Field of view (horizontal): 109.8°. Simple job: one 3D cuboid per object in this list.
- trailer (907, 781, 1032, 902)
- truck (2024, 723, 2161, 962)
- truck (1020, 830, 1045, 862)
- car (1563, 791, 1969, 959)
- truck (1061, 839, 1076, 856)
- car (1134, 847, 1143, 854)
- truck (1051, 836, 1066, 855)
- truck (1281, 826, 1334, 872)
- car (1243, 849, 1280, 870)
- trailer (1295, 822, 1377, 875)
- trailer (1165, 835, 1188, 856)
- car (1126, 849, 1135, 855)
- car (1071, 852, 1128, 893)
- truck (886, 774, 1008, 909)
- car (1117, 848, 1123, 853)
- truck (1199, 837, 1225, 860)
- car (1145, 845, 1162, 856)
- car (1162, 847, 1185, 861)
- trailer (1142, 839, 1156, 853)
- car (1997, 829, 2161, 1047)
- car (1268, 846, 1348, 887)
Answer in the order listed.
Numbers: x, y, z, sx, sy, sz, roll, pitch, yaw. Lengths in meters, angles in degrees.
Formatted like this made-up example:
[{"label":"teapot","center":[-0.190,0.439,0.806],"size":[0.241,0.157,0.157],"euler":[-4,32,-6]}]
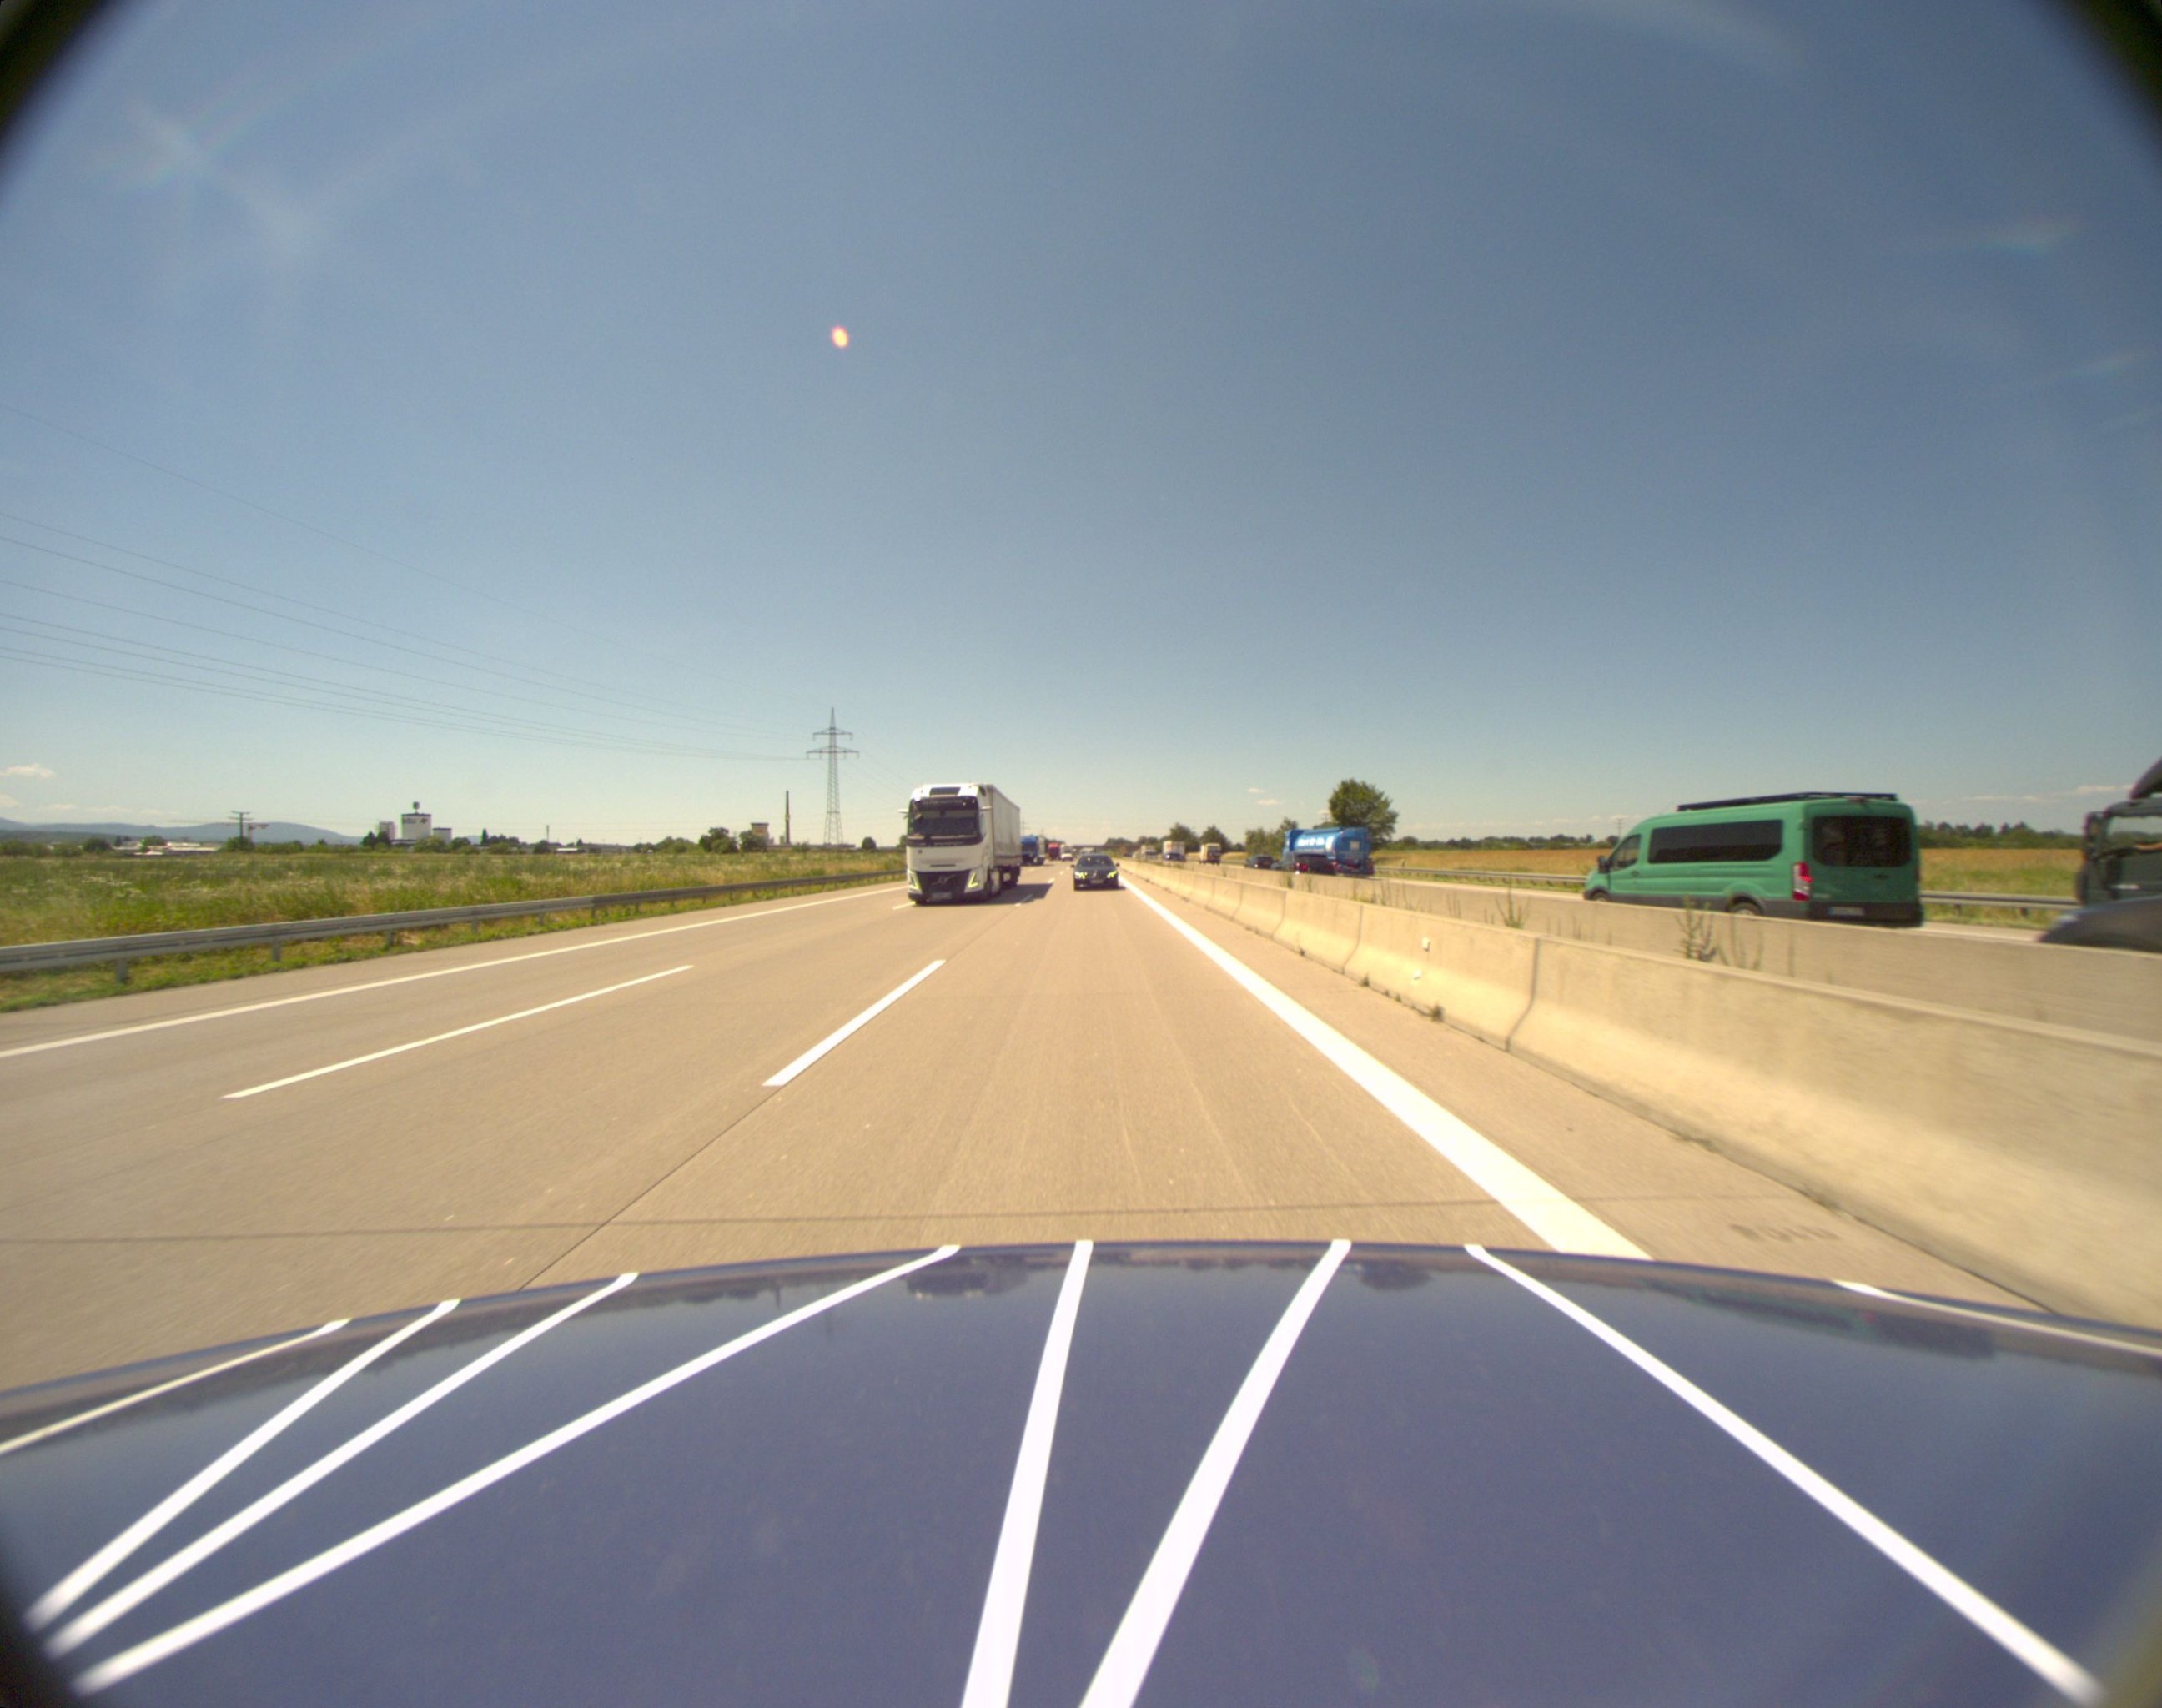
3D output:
[{"label":"trailer","center":[-4.288,-0.457,33.266],"size":[3.025,4.037,14.206],"euler":[-2,0,1]},{"label":"truck","center":[17.026,-0.155,8.732],"size":[2.561,3.492,7.884],"euler":[0,0,0]},{"label":"truck","center":[-6.581,-1.071,103.244],"size":[2.757,4.020,5.466],"euler":[-2,0,1]},{"label":"car","center":[12.723,0.318,15.083],"size":[2.154,2.536,6.463],"euler":[2,0,0]},{"label":"truck","center":[-2.561,-1.332,155.818],"size":[2.784,3.328,7.812],"euler":[-2,0,0]},{"label":"car","center":[15.497,-0.925,204.418],"size":[1.999,1.574,4.370],"euler":[0,-1,0]},{"label":"truck","center":[-5.332,-2.020,183.093],"size":[2.855,4.297,10.886],"euler":[-2,0,1]},{"label":"truck","center":[17.616,-0.420,59.488],"size":[2.490,3.348,5.263],"euler":[-2,0,0]},{"label":"car","center":[13.720,0.412,58.011],"size":[1.724,1.440,4.707],"euler":[-2,0,0]},{"label":"trailer","center":[17.606,-0.365,53.151],"size":[2.521,3.253,9.252],"euler":[-2,0,0]},{"label":"trailer","center":[18.571,-1.566,148.716],"size":[2.916,3.886,12.510],"euler":[-2,0,1]},{"label":"car","center":[12.128,-0.521,187.645],"size":[1.903,1.318,5.069],"euler":[-2,0,0]},{"label":"car","center":[0.740,0.640,29.838],"size":[1.998,1.462,6.348],"euler":[0,0,2]},{"label":"truck","center":[-4.398,-0.393,26.153],"size":[2.992,4.039,5.477],"euler":[-2,0,1]},{"label":"car","center":[11.855,-1.140,232.301],"size":[1.732,1.476,4.117],"euler":[-2,0,0]},{"label":"truck","center":[18.304,-0.739,106.560],"size":[2.328,3.066,6.977],"euler":[-2,0,0]},{"label":"car","center":[11.280,-0.520,118.836],"size":[2.144,1.669,5.644],"euler":[1,0,0]},{"label":"car","center":[9.634,-0.001,79.536],"size":[1.784,1.340,4.452],"euler":[-3,0,-1]},{"label":"trailer","center":[19.716,-2.165,220.066],"size":[2.777,3.780,13.827],"euler":[-2,0,0]},{"label":"car","center":[8.870,0.597,4.107],"size":[1.998,1.567,4.848],"euler":[-2,0,1]},{"label":"car","center":[9.626,0.489,32.655],"size":[1.945,1.549,4.888],"euler":[-2,0,0]}]
